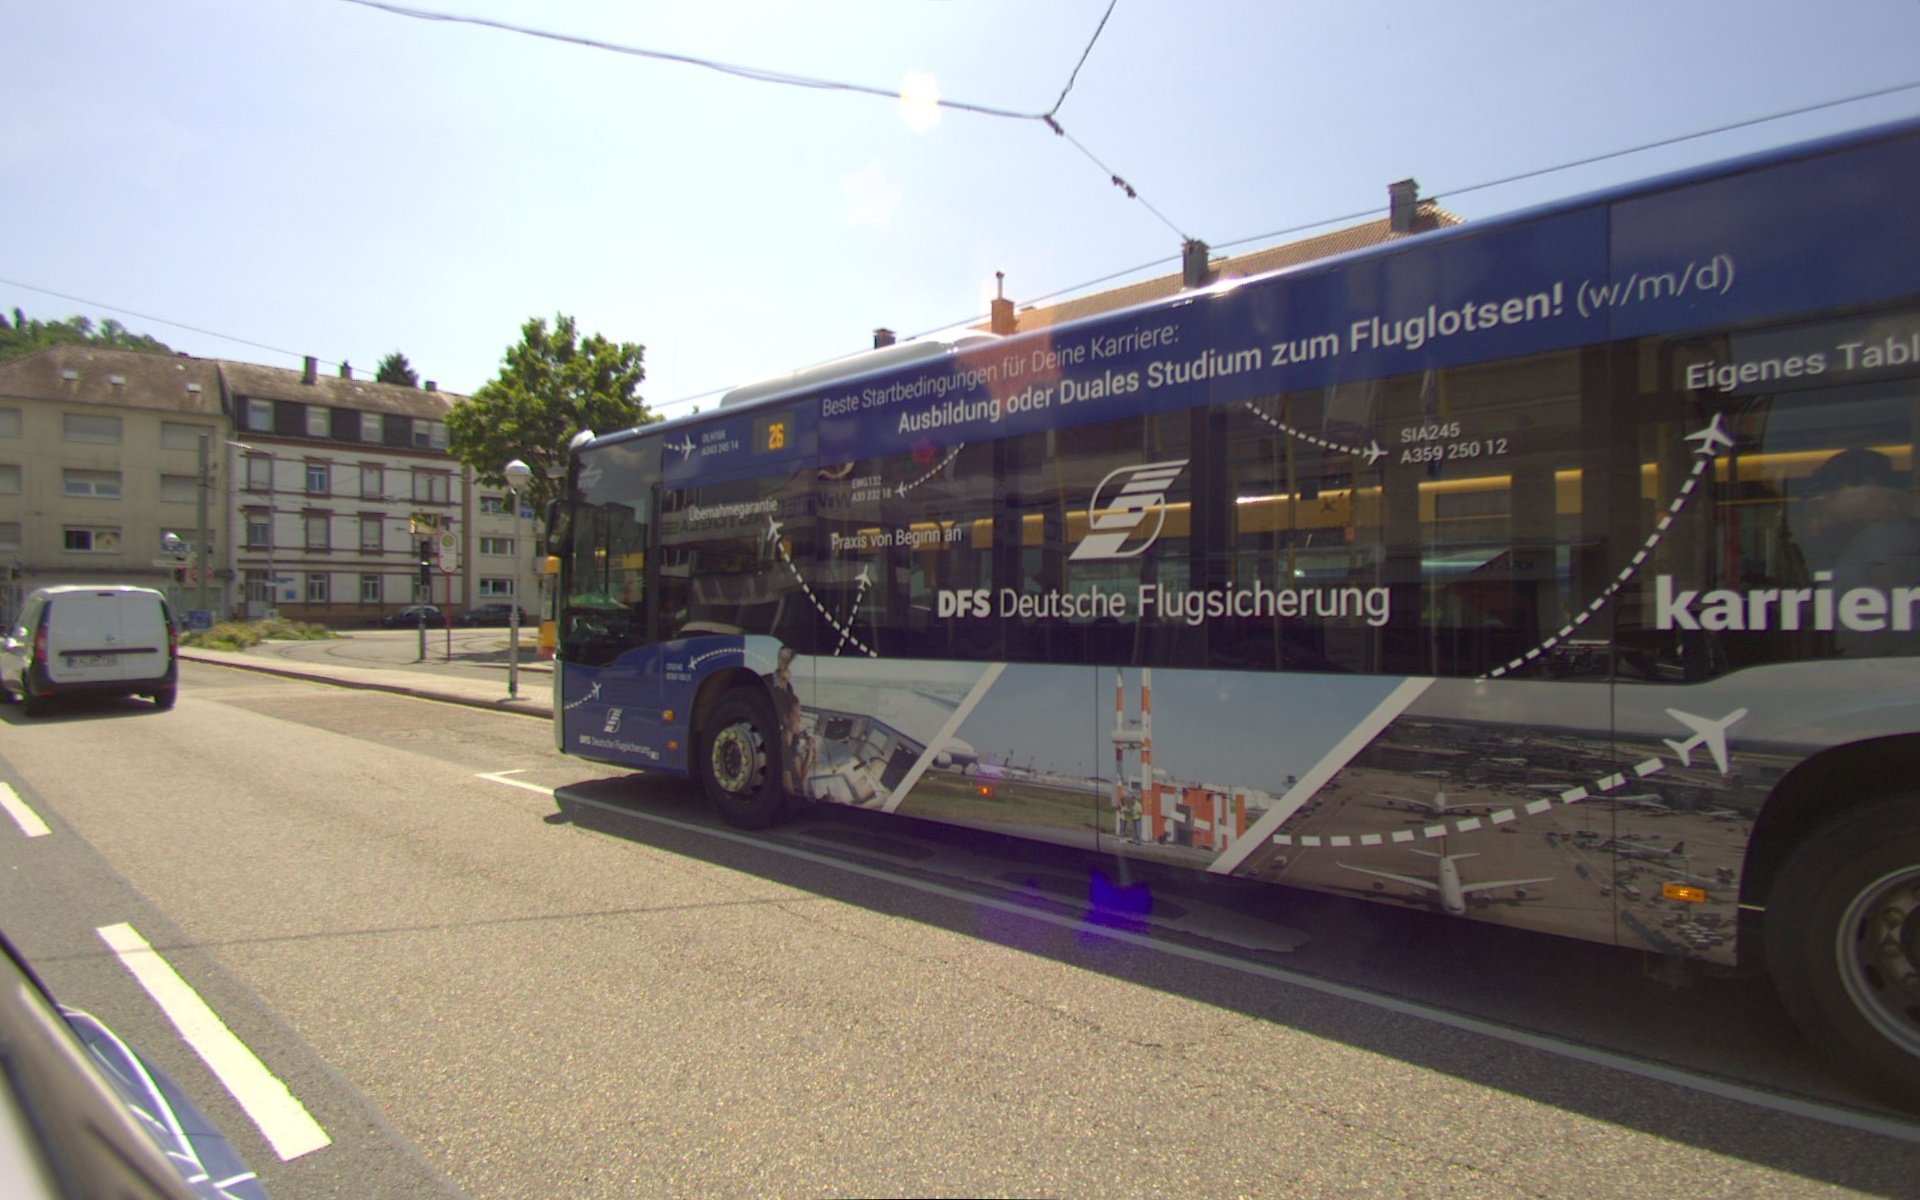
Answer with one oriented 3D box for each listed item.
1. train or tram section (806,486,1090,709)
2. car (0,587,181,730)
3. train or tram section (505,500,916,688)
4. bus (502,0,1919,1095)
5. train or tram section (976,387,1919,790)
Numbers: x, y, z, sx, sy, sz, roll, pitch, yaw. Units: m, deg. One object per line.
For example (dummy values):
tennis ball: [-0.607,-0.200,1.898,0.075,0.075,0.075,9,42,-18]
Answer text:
train or tram section: [-0.261,0.005,18.599,4.416,3.522,2.932,-1,-2,42]
car: [-13.636,0.747,15.458,4.707,1.864,1.687,0,1,39]
train or tram section: [-6.651,-0.082,24.363,12.709,3.521,2.932,-1,1,42]
bus: [1.804,-0.467,5.198,12.035,3.452,2.877,0,2,42]
train or tram section: [5.952,-0.082,13.010,12.653,3.521,2.932,-1,1,42]
